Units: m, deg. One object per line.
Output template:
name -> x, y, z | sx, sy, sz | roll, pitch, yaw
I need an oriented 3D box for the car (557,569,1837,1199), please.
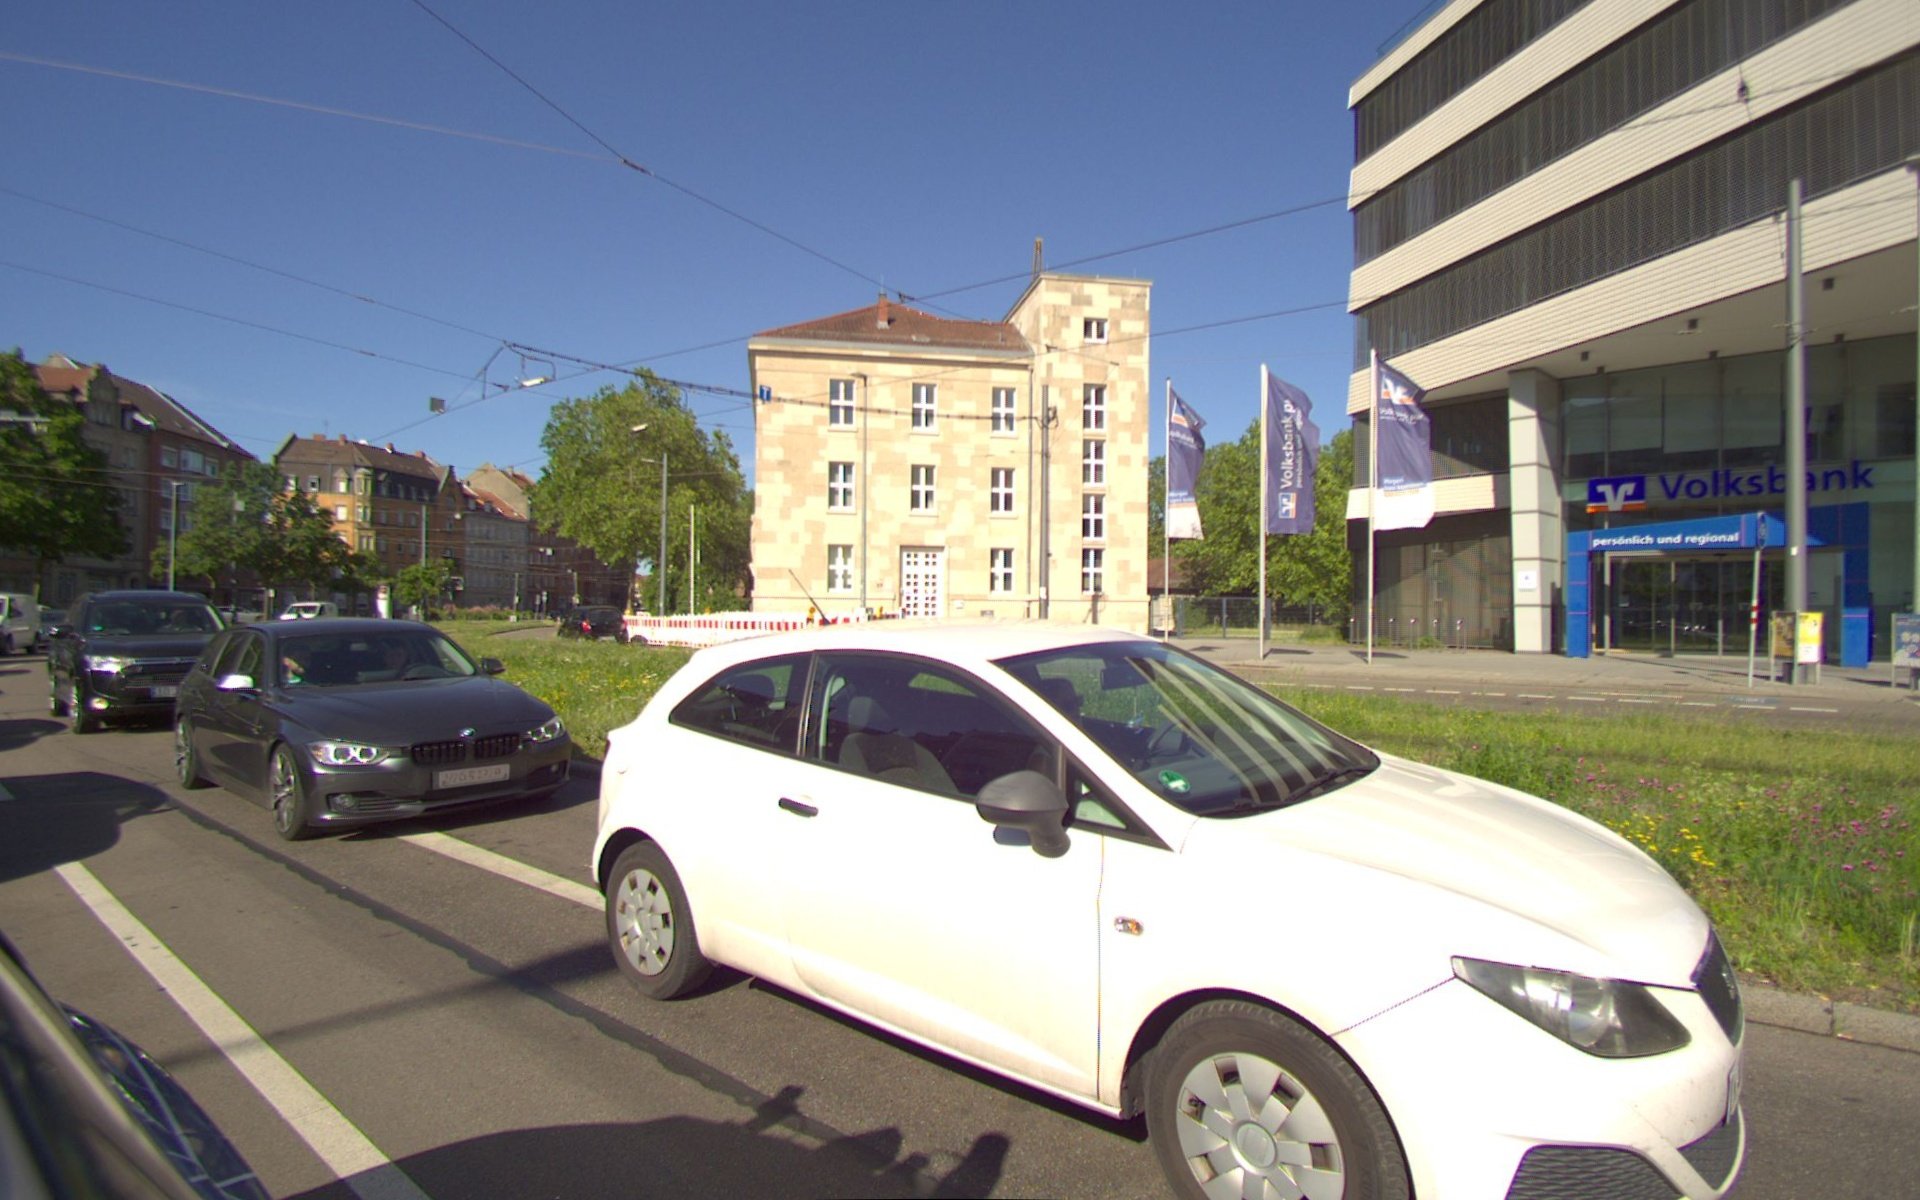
car -> 0.392, 0.682, 3.394 | 3.834, 1.441, 1.647 | -1, 2, 41

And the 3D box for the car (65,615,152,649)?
car -> -37.089, 1.356, 44.225 | 1.799, 1.395, 4.670 | 1, -1, -26

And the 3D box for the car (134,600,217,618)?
car -> -55.007, 0.644, 71.013 | 2.000, 1.219, 4.339 | -1, -1, 43

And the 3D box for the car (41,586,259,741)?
car -> -10.683, 0.704, 13.221 | 4.329, 1.697, 1.744 | -1, 0, 45

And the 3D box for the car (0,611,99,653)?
car -> -33.578, 1.155, 37.326 | 1.842, 1.458, 3.921 | 1, -1, -26

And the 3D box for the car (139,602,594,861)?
car -> -4.807, 0.754, 7.874 | 4.483, 1.441, 1.816 | 0, 0, 42

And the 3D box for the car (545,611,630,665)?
car -> -12.979, 1.285, 35.153 | 1.741, 1.763, 4.009 | 1, -1, -36

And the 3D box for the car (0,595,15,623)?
car -> -52.705, 0.470, 53.122 | 4.329, 1.472, 2.004 | 1, -1, -37

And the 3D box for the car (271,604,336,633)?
car -> -36.794, 1.056, 56.820 | 1.843, 1.568, 4.011 | 0, -1, -15

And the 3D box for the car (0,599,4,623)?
car -> -51.018, 0.544, 50.685 | 4.329, 1.243, 2.004 | 1, -1, -37

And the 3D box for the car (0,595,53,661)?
car -> -30.714, 0.848, 31.948 | 1.842, 1.997, 4.670 | 1, -1, -26
